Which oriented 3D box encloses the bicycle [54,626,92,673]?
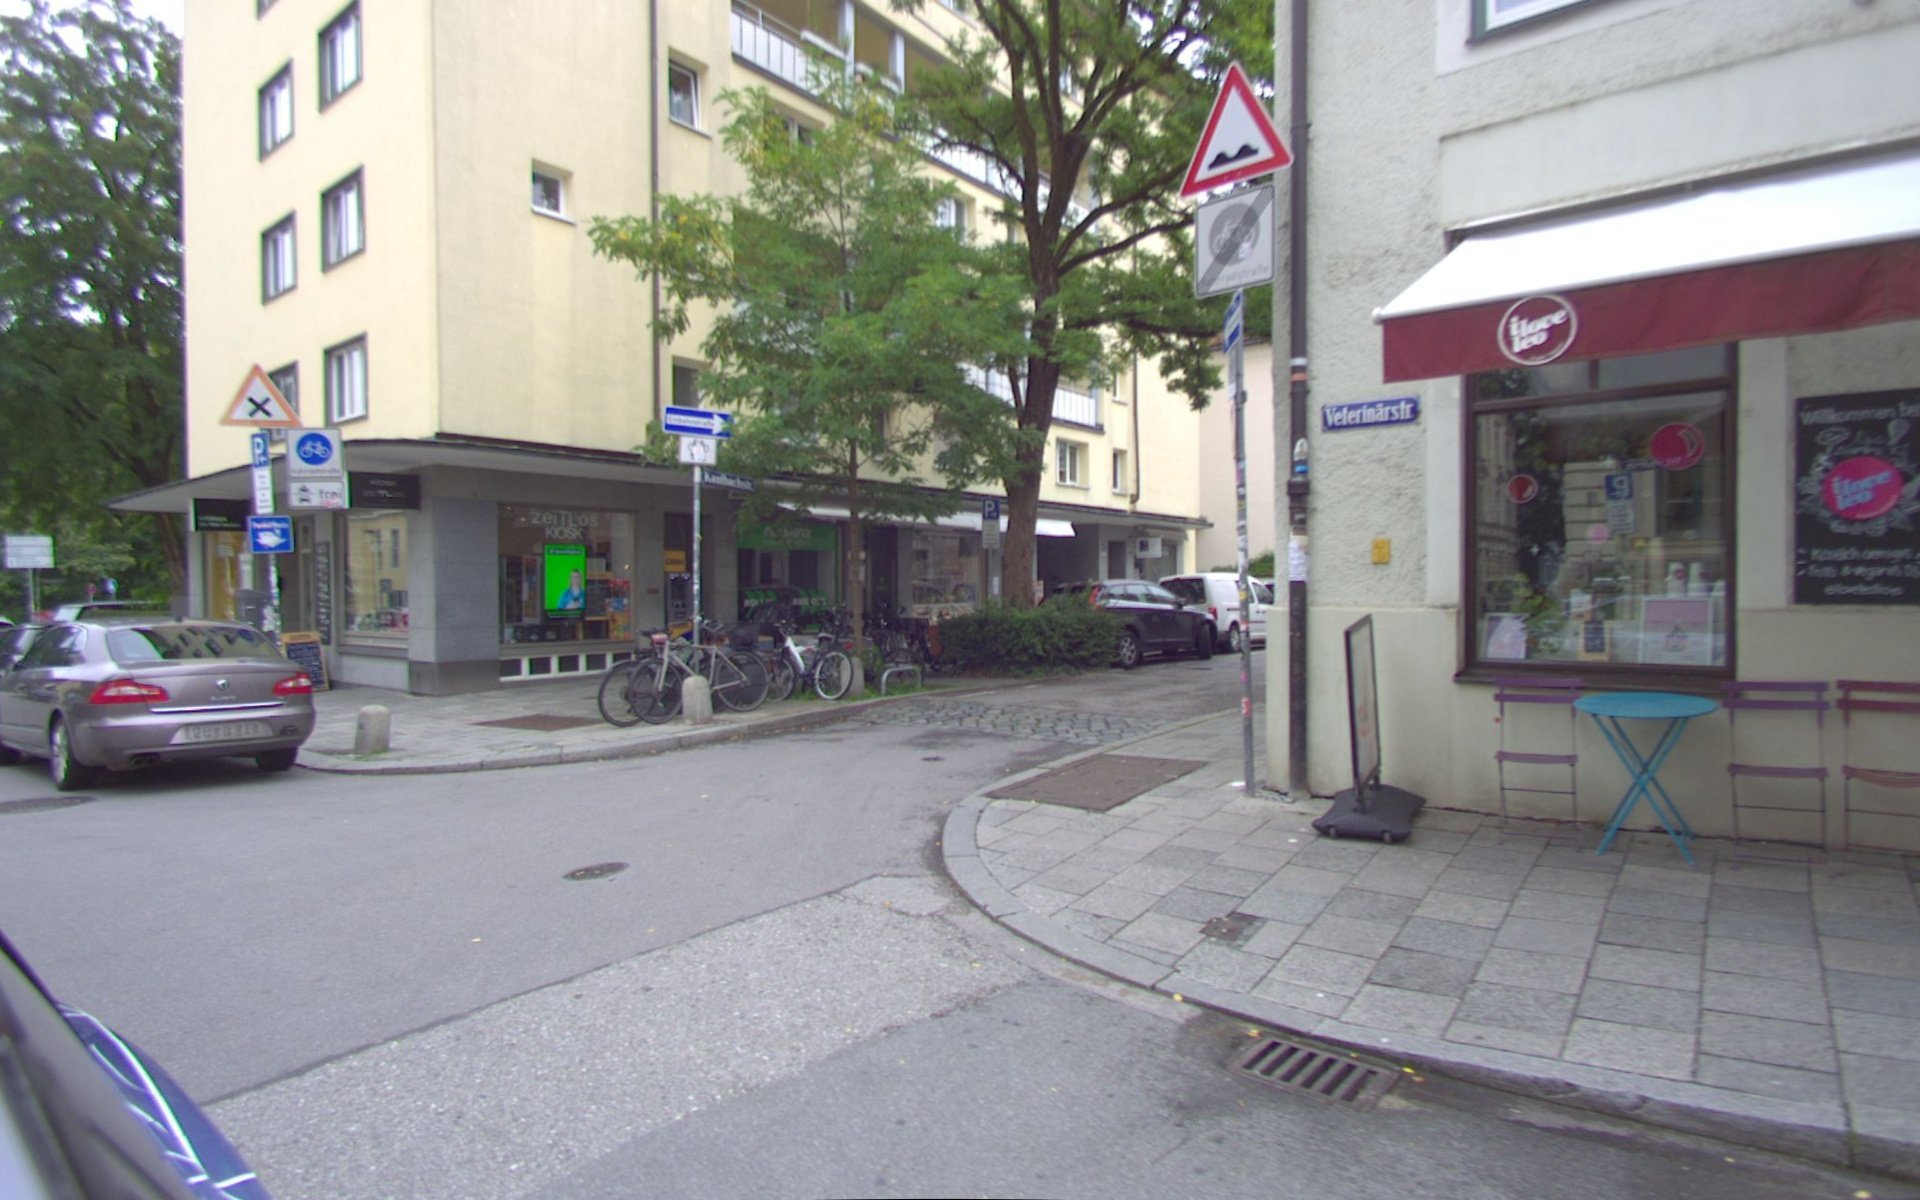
[{"bbox_3d":[-24.593,1.352,28.054,1.854,1.219,0.556,-1,1,42],"label":"bicycle"}]

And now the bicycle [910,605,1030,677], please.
[{"bbox_3d":[0.220,0.712,18.318,0.817,1.221,2.341,1,0,42],"label":"bicycle"}]

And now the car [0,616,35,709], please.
[{"bbox_3d":[-18.403,1.151,18.367,4.333,1.596,1.785,-3,-3,40],"label":"car"}]

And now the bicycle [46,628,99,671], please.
[{"bbox_3d":[-26.074,1.425,29.757,0.573,1.134,2.305,-3,1,-27],"label":"bicycle"}]

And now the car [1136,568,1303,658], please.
[{"bbox_3d":[6.131,0.282,23.559,1.906,1.859,4.401,-5,-3,41],"label":"car"}]

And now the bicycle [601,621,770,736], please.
[{"bbox_3d":[-2.930,0.811,10.965,0.392,1.042,1.799,-2,1,42],"label":"bicycle"}]

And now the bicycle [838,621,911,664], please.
[{"bbox_3d":[-1.725,0.828,20.201,1.720,0.786,0.289,1,1,38],"label":"bicycle"}]

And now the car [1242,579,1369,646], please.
[{"bbox_3d":[9.431,0.307,27.476,1.774,1.608,4.111,-5,-3,41],"label":"car"}]

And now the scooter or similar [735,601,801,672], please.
[{"bbox_3d":[-3.417,0.629,18.121,0.985,1.210,1.204,0,1,-2],"label":"scooter or similar"}]

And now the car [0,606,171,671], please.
[{"bbox_3d":[-30.324,1.250,35.018,1.925,2.016,4.384,0,1,24],"label":"car"}]

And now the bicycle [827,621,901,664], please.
[{"bbox_3d":[-1.903,0.831,19.967,1.720,0.786,0.289,1,1,38],"label":"bicycle"}]

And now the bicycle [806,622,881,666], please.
[{"bbox_3d":[-2.261,0.835,19.485,1.720,0.786,0.289,1,1,38],"label":"bicycle"}]

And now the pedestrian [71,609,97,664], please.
[{"bbox_3d":[-29.326,1.219,33.879,0.552,1.812,0.642,-2,-2,-33],"label":"pedestrian"}]

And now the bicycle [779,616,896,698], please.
[{"bbox_3d":[-1.618,0.715,13.195,1.713,0.973,0.376,0,2,36],"label":"bicycle"}]

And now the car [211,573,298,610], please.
[{"bbox_3d":[-42.548,-0.519,61.139,3.900,2.120,1.911,-2,1,-20],"label":"car"}]

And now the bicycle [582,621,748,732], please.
[{"bbox_3d":[-3.230,0.807,11.236,0.392,1.042,1.799,-2,1,42],"label":"bicycle"}]

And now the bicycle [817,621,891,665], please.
[{"bbox_3d":[-2.083,0.833,19.725,1.720,0.786,0.289,1,1,38],"label":"bicycle"}]

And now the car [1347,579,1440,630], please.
[{"bbox_3d":[15.251,0.155,35.503,1.774,1.608,4.111,-5,-3,41],"label":"car"}]

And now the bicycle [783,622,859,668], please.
[{"bbox_3d":[-2.619,0.838,19.006,1.720,0.786,0.289,1,1,38],"label":"bicycle"}]

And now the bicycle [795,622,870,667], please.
[{"bbox_3d":[-2.439,0.838,19.239,1.720,0.786,0.289,1,1,38],"label":"bicycle"}]

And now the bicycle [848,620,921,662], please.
[{"bbox_3d":[-1.541,0.818,20.436,1.720,0.786,0.289,1,1,38],"label":"bicycle"}]

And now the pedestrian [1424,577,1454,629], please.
[{"bbox_3d":[14.964,0.089,31.623,0.670,1.594,0.576,0,1,-34],"label":"pedestrian"}]

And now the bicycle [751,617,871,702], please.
[{"bbox_3d":[-1.903,0.722,12.795,1.713,0.973,0.376,0,2,36],"label":"bicycle"}]

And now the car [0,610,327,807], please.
[{"bbox_3d":[-8.077,0.868,9.786,4.941,1.482,1.663,-1,-1,37],"label":"car"}]

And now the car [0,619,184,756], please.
[{"bbox_3d":[-11.482,0.999,12.933,4.094,1.482,1.662,-1,-1,40],"label":"car"}]

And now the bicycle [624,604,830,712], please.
[{"bbox_3d":[-3.147,0.735,14.007,0.817,1.220,2.813,1,2,42],"label":"bicycle"}]
